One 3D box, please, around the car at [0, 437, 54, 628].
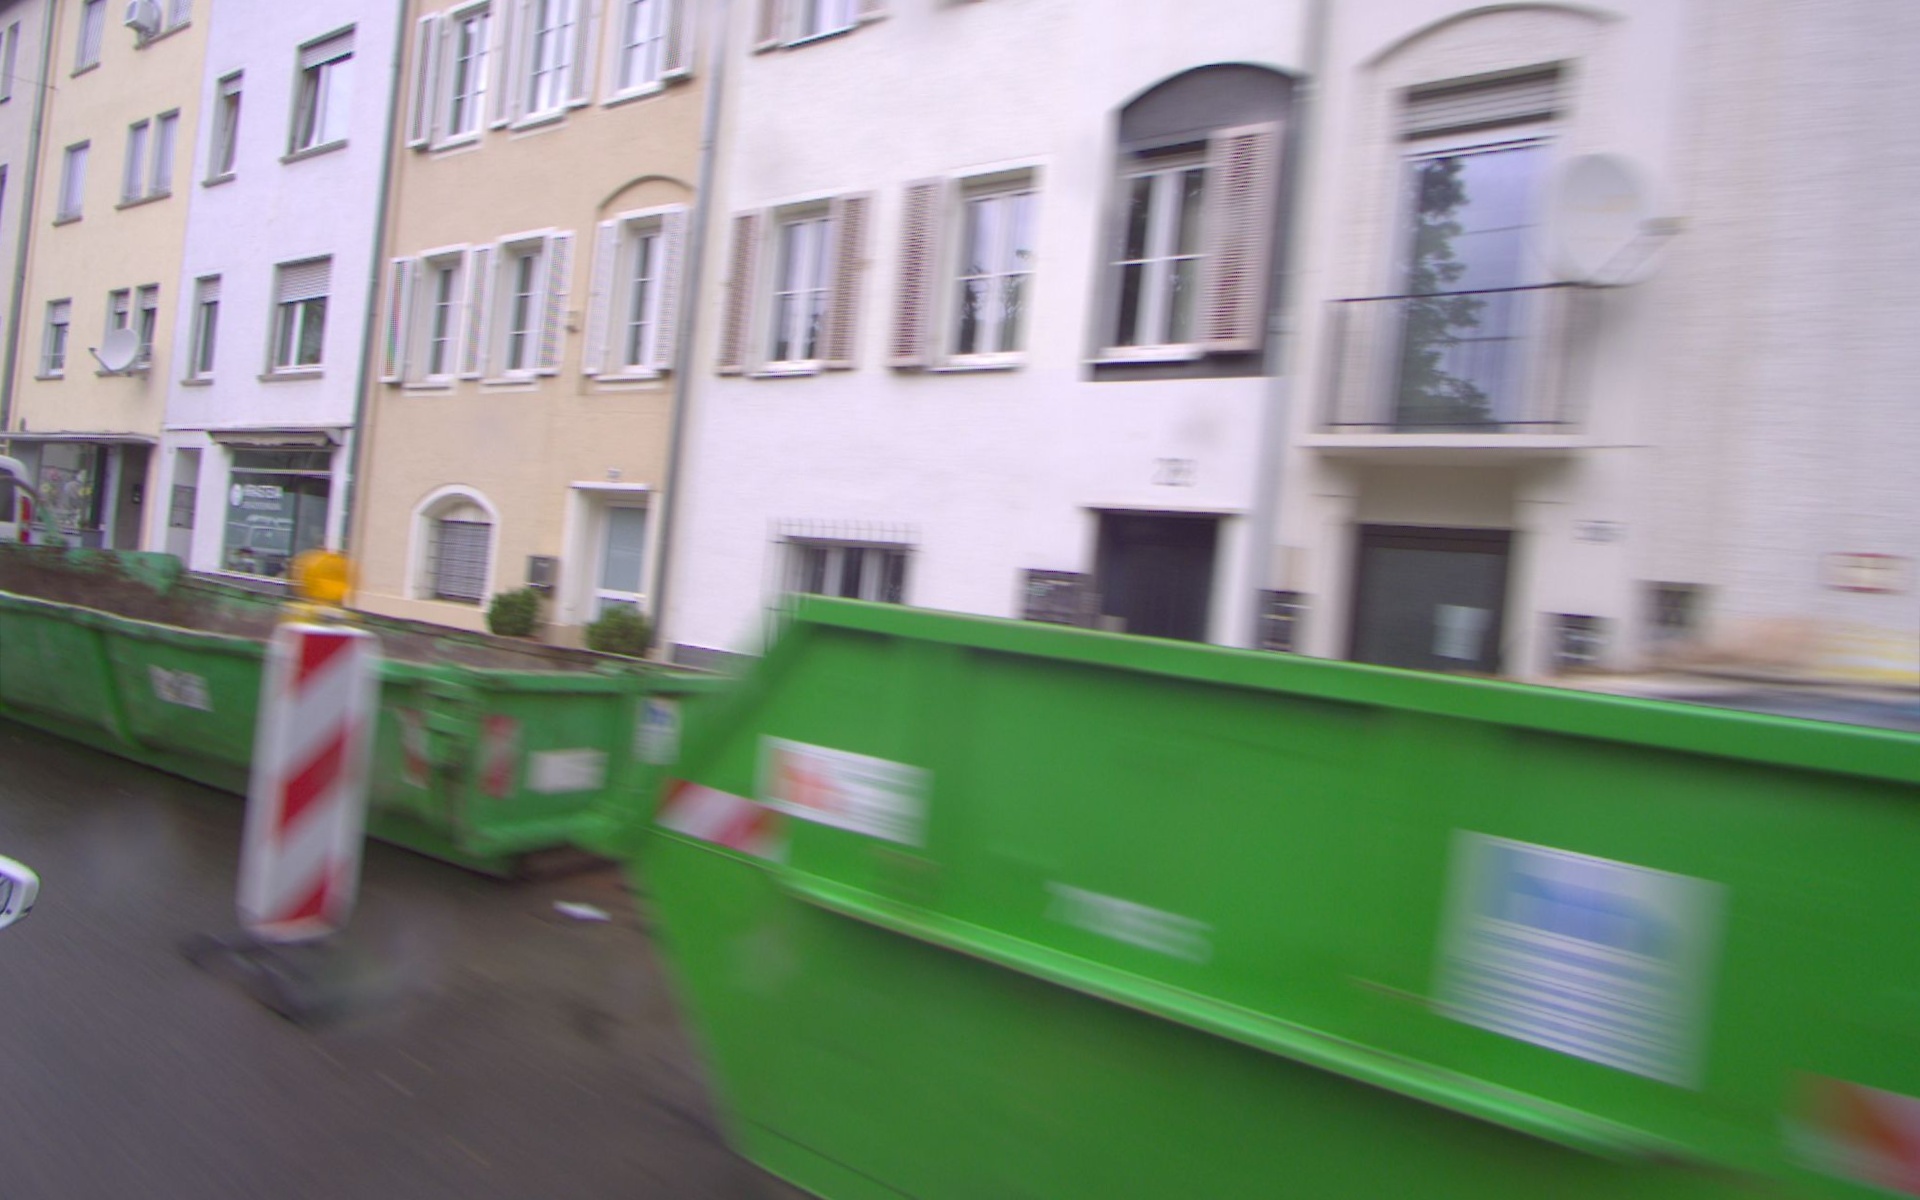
[{"bbox_3d":[-11.983,-0.959,11.107,4.170,1.947,1.820,7,-1,33],"label":"car"}]
